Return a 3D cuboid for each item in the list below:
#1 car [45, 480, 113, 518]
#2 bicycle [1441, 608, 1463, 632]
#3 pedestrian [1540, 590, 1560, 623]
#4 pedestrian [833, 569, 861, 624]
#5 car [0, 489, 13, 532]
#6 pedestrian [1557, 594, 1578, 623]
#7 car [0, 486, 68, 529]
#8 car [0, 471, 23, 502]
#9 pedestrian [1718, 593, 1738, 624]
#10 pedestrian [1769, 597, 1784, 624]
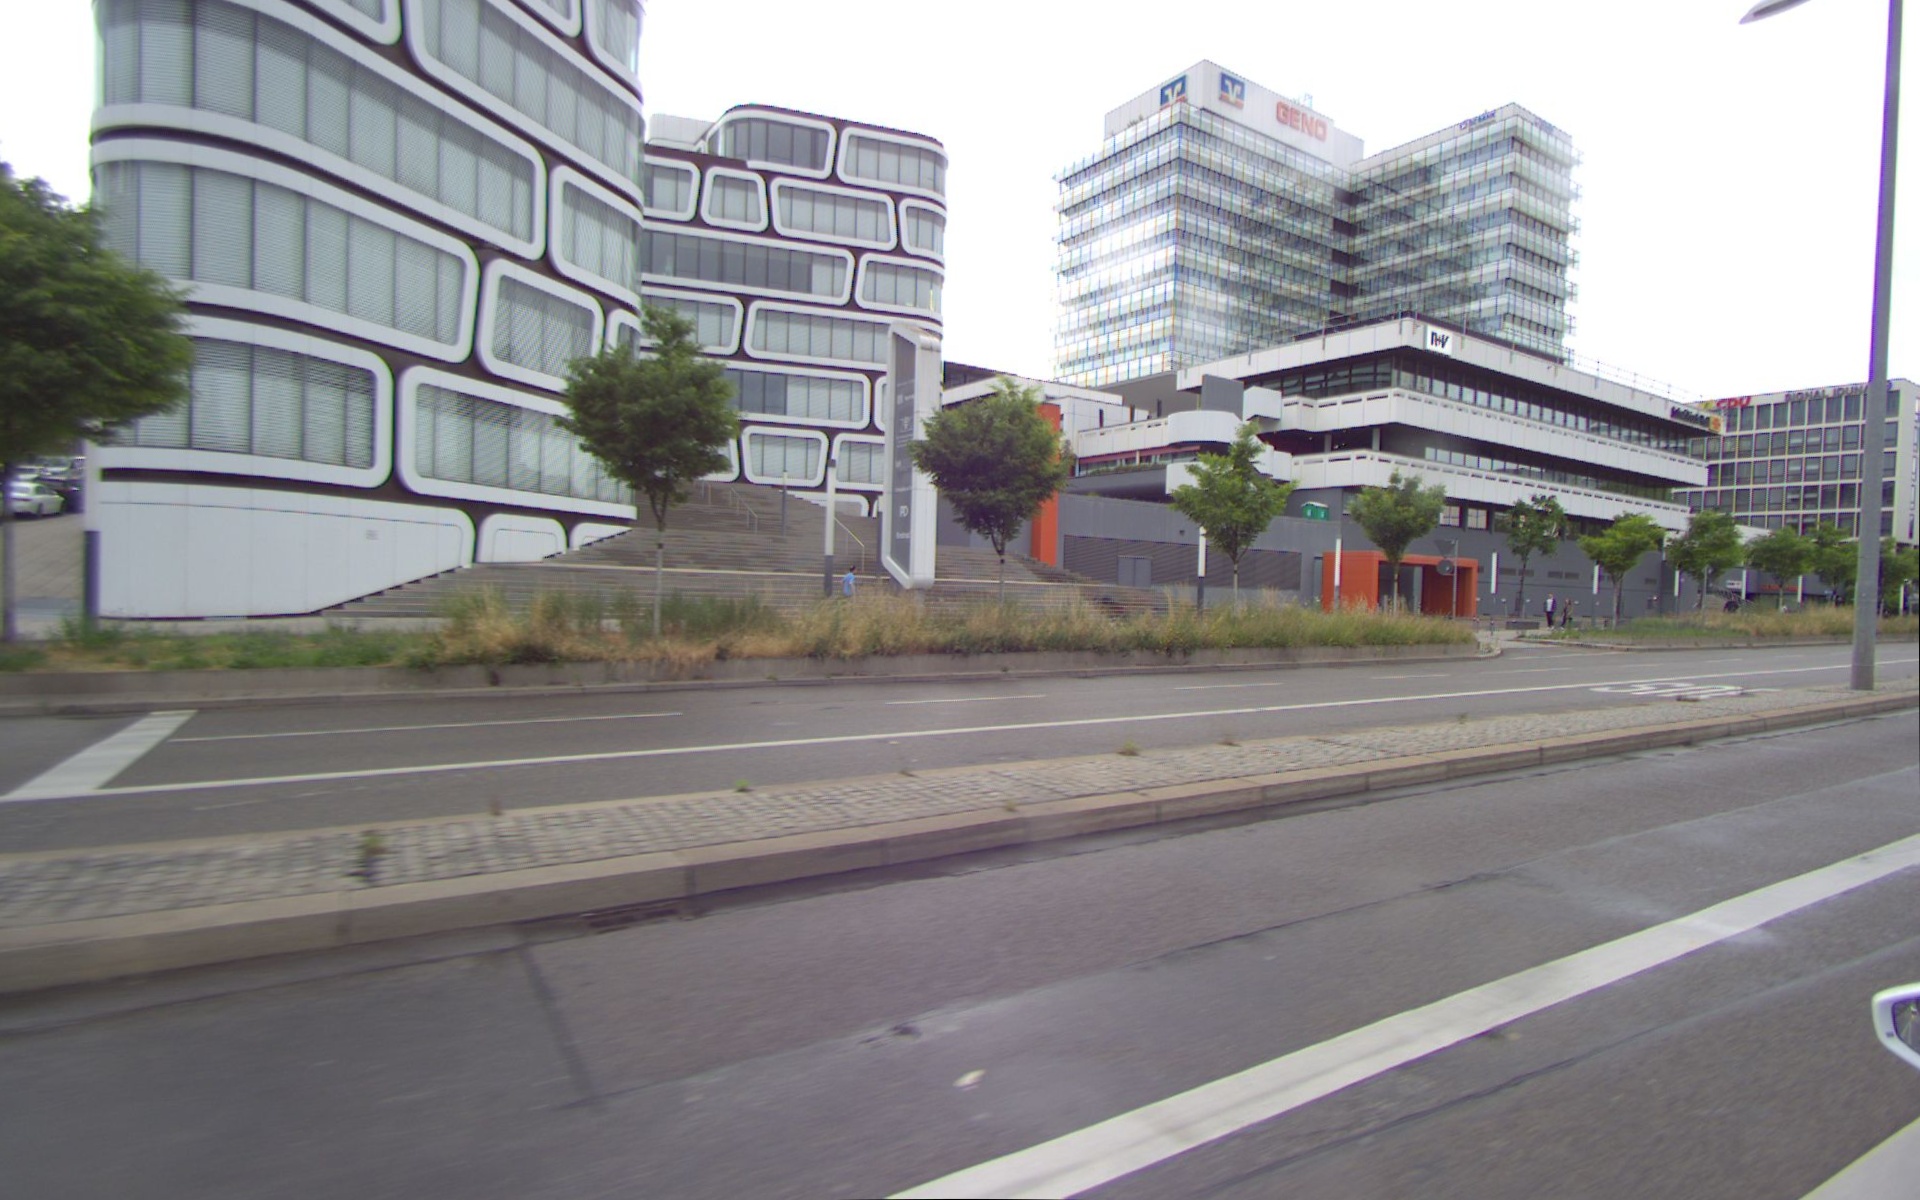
[{"bbox_3d":[-43.205,-4.993,49.341,1.858,1.598,3.964,1,6,-32],"label":"car"},{"bbox_3d":[18.450,0.747,37.688,0.598,0.869,1.657,1,0,23],"label":"bicycle"},{"bbox_3d":[30.317,0.332,51.630,0.790,1.680,0.614,2,-2,-32],"label":"pedestrian"},{"bbox_3d":[-3.458,-0.108,30.686,0.632,1.632,0.607,2,0,-30],"label":"pedestrian"},{"bbox_3d":[-38.122,-3.471,38.538,1.858,1.598,3.964,1,6,-32],"label":"car"},{"bbox_3d":[30.799,0.431,50.935,0.790,1.465,0.614,2,0,-32],"label":"pedestrian"},{"bbox_3d":[-40.773,-4.069,44.018,1.858,1.598,3.964,1,6,-32],"label":"car"},{"bbox_3d":[-54.118,-6.376,55.797,1.823,1.706,3.974,2,4,-25],"label":"car"},{"bbox_3d":[47.211,0.513,61.720,0.622,1.832,0.779,2,0,-33],"label":"pedestrian"},{"bbox_3d":[56.569,0.704,69.611,0.622,1.832,0.626,2,0,-33],"label":"pedestrian"}]
